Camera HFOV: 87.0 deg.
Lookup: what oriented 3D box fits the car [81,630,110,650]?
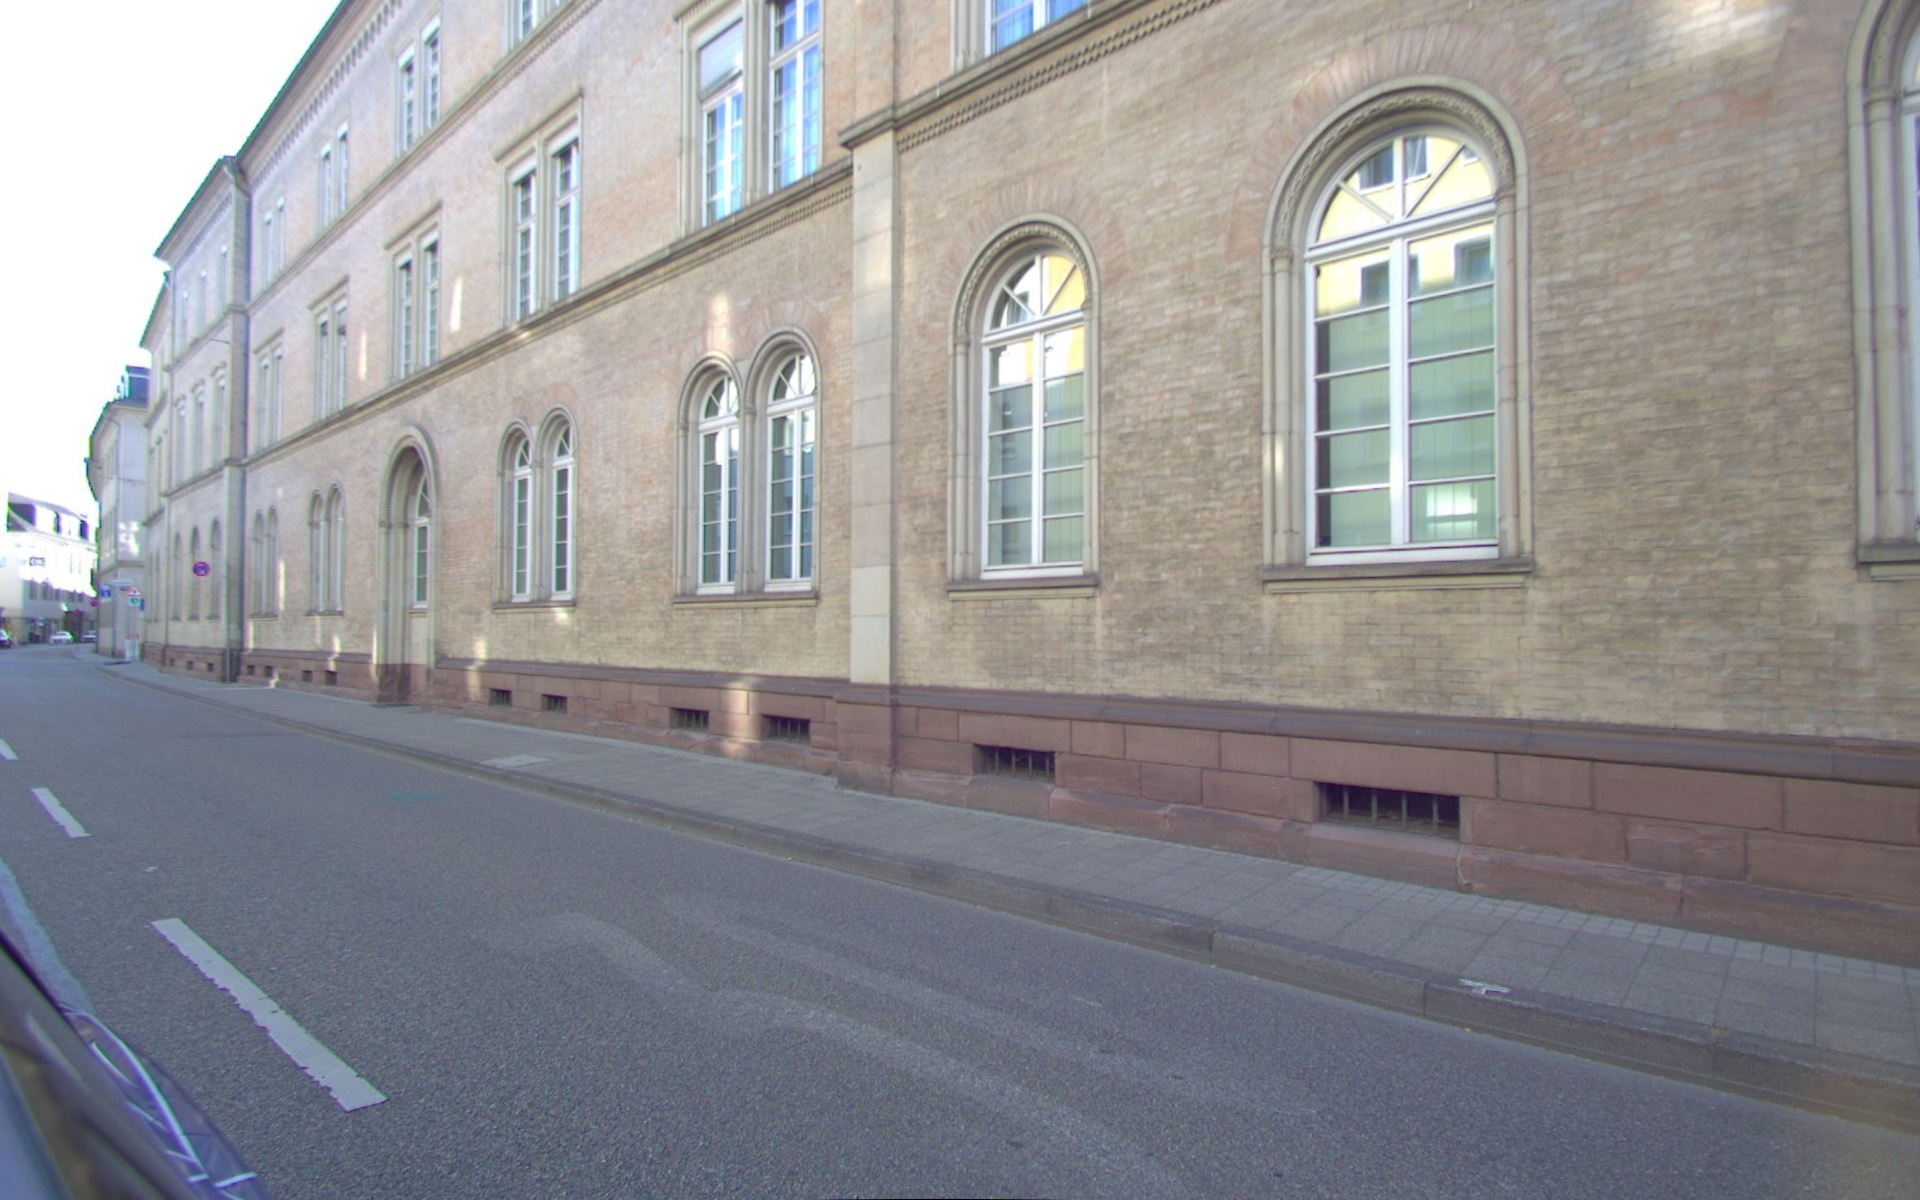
[{"bbox_3d":[-80.061,3.698,93.759,1.638,1.737,3.748,1,-2,-36],"label":"car"}]

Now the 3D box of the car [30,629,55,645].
[{"bbox_3d":[-102.439,4.135,113.023,1.511,1.737,3.749,1,-2,-34],"label":"car"}]

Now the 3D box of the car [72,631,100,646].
[{"bbox_3d":[-109.240,4.800,126.530,1.896,1.737,4.242,1,-2,-31],"label":"car"}]
